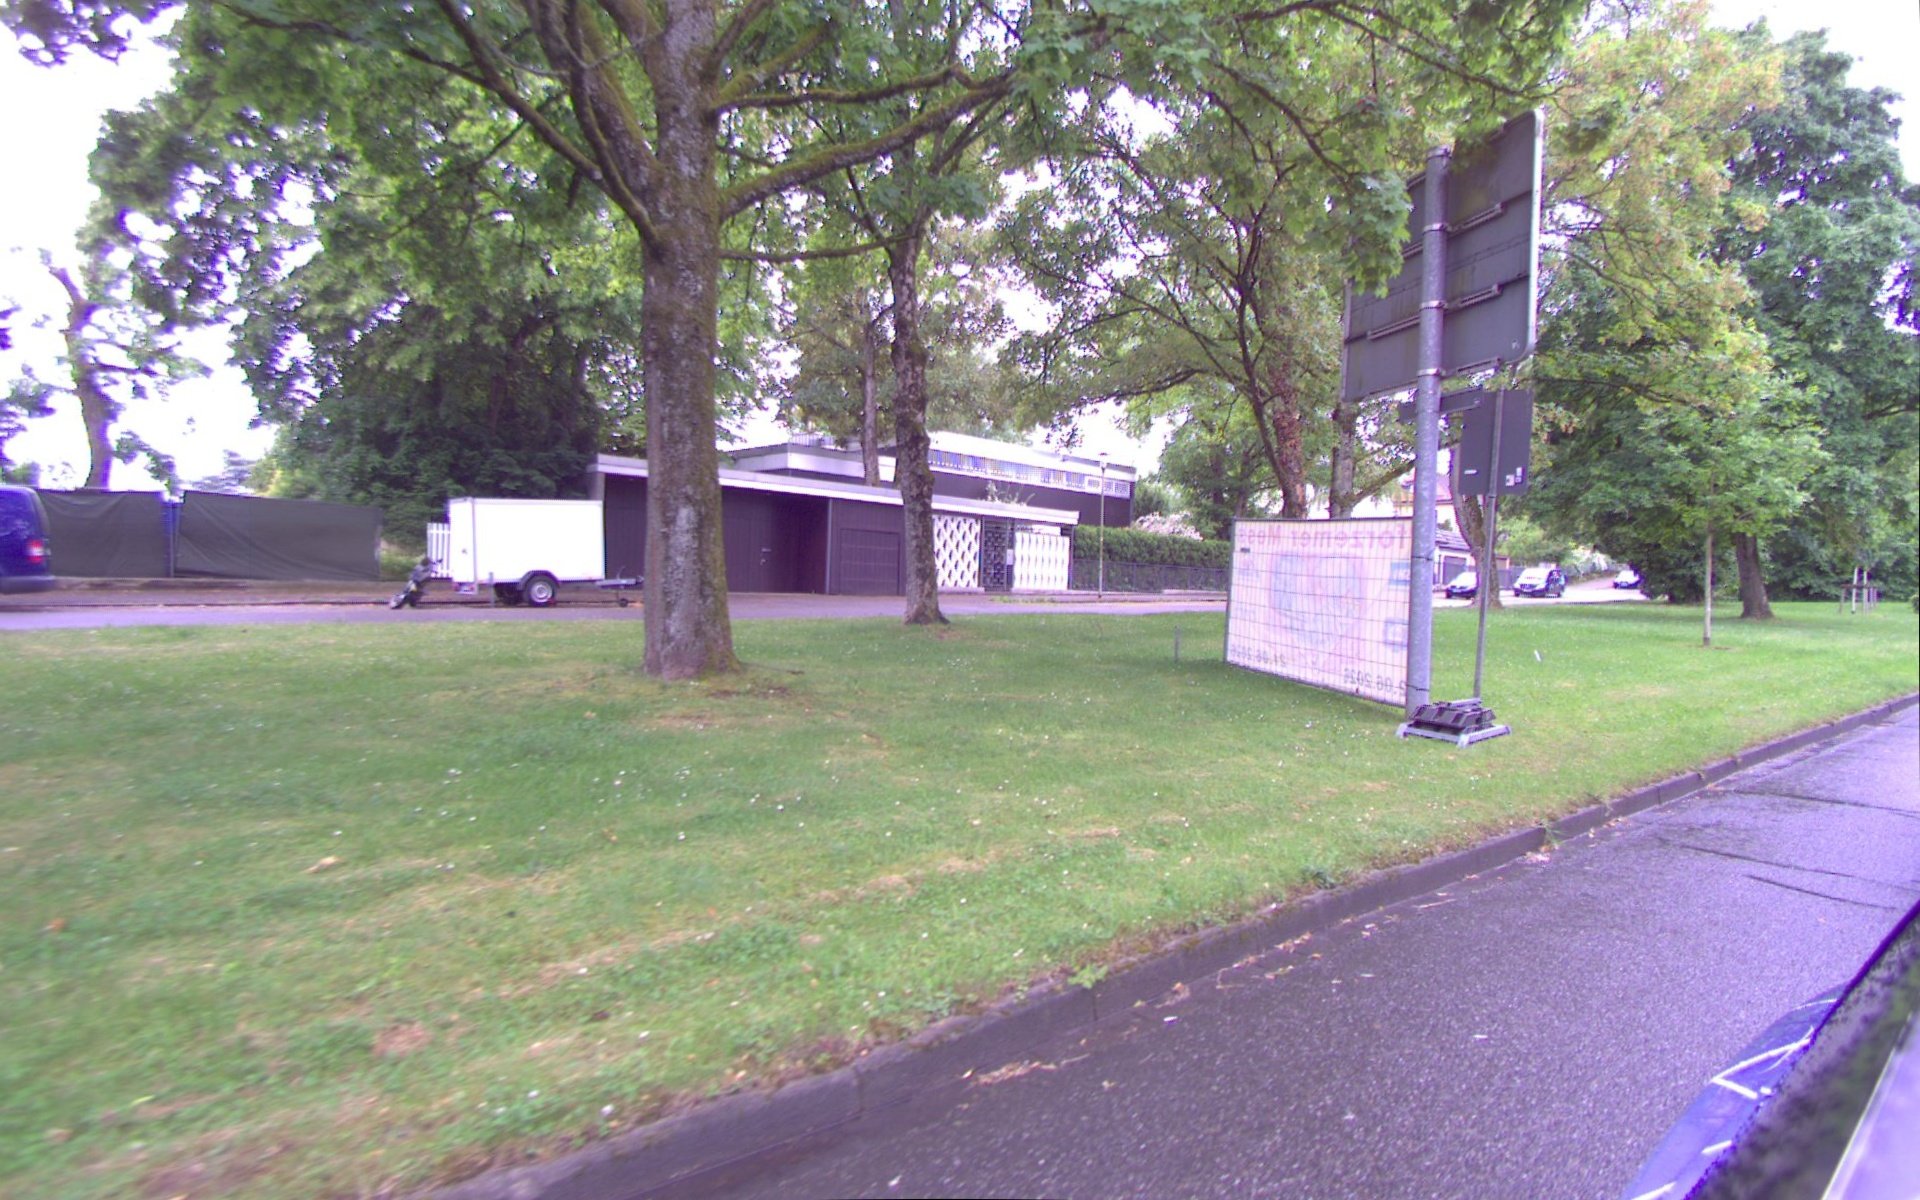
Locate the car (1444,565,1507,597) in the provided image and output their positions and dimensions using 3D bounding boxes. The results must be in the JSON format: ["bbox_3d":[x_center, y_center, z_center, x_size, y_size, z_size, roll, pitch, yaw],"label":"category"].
[{"bbox_3d":[29.104,-1.108,57.109,3.968,1.644,1.904,-2,4,-43],"label":"car"}]

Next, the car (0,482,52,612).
[{"bbox_3d":[-15.374,-0.799,13.693,4.570,1.831,1.944,0,4,-43],"label":"car"}]

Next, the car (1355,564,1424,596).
[{"bbox_3d":[20.747,-0.990,48.817,3.648,1.392,1.684,-2,5,-43],"label":"car"}]

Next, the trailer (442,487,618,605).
[{"bbox_3d":[-8.516,-1.037,20.152,1.437,2.181,2.903,3,3,44],"label":"trailer"}]

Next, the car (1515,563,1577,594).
[{"bbox_3d":[38.114,-1.444,65.789,4.986,1.901,2.162,-2,4,-44],"label":"car"}]

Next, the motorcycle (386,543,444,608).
[{"bbox_3d":[-9.929,-0.454,18.487,0.645,1.106,1.896,2,1,-20],"label":"motorcycle"}]
